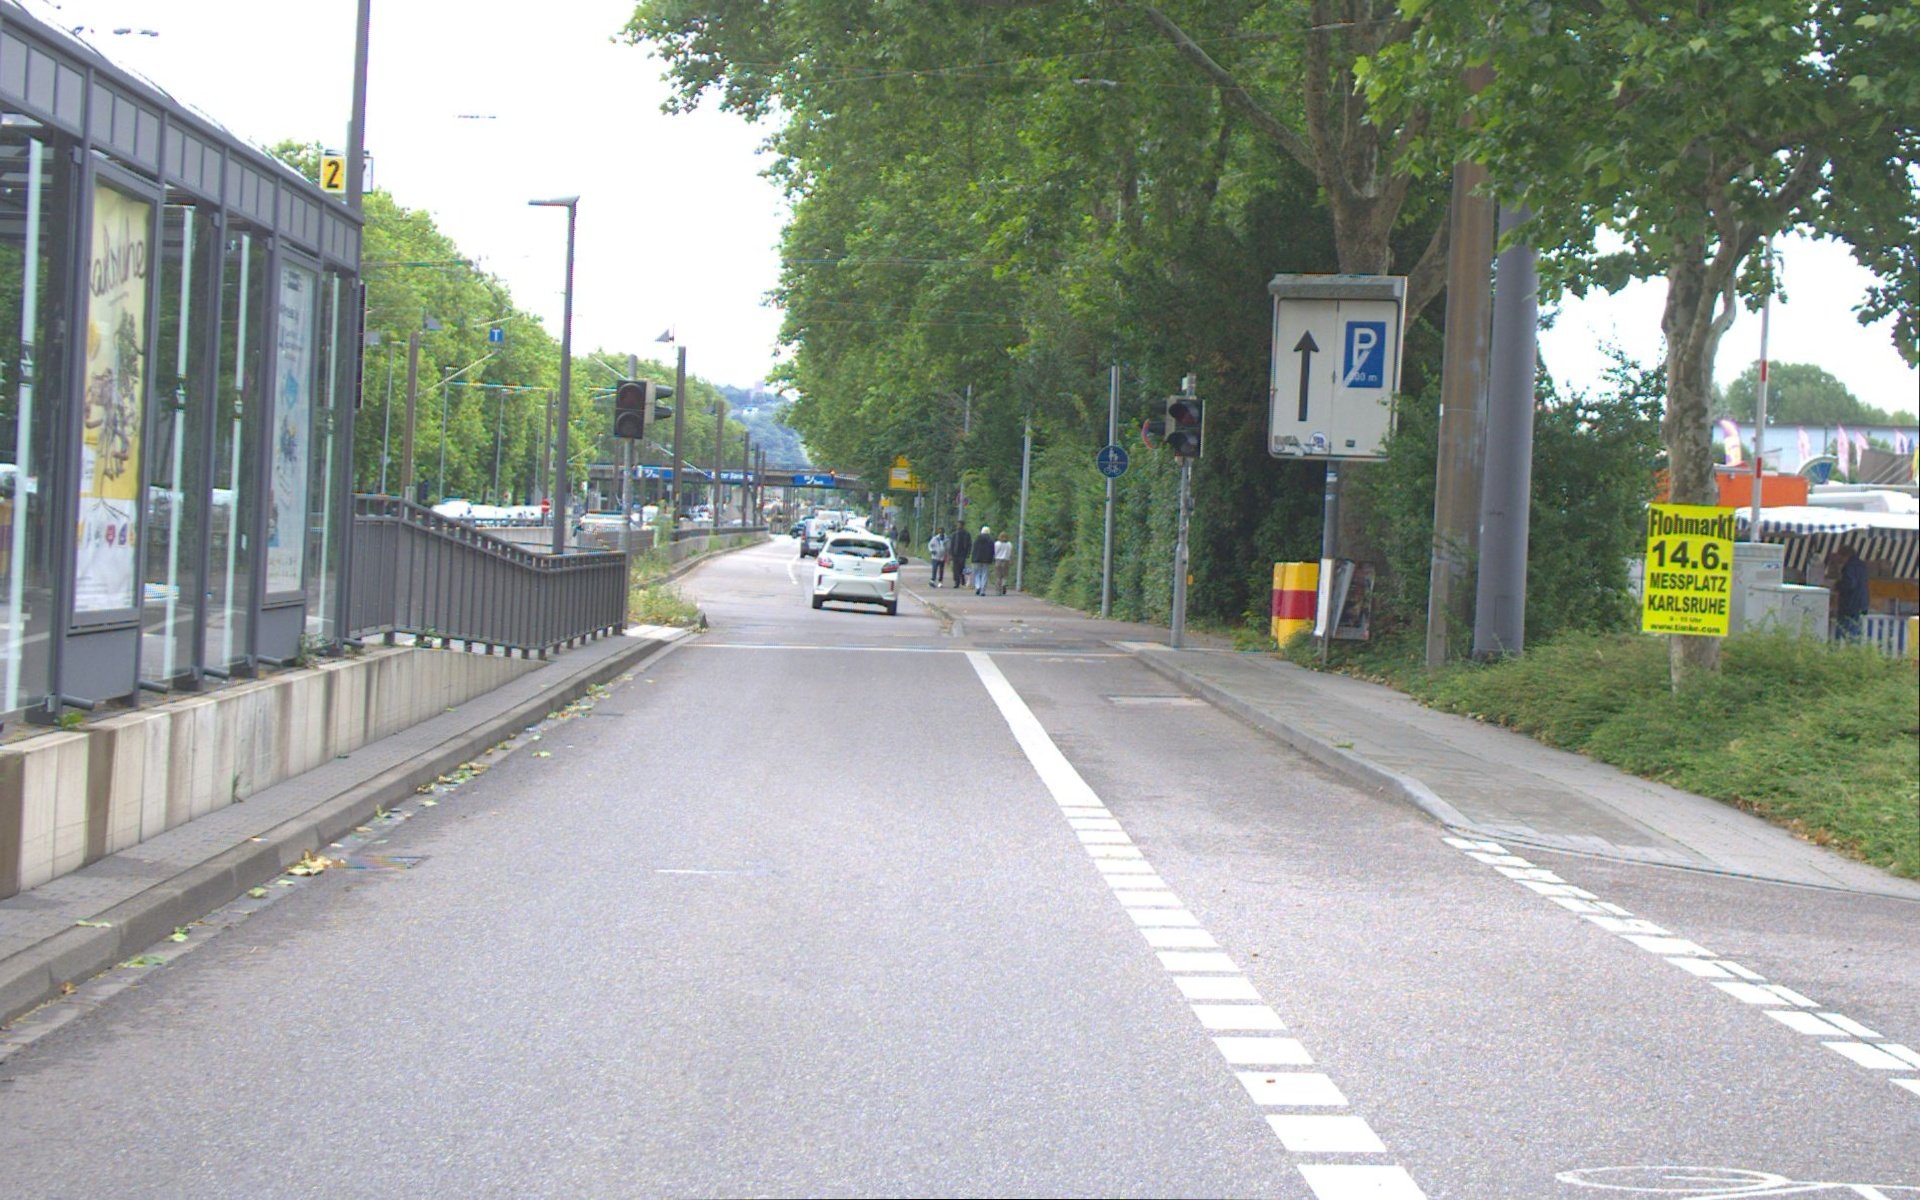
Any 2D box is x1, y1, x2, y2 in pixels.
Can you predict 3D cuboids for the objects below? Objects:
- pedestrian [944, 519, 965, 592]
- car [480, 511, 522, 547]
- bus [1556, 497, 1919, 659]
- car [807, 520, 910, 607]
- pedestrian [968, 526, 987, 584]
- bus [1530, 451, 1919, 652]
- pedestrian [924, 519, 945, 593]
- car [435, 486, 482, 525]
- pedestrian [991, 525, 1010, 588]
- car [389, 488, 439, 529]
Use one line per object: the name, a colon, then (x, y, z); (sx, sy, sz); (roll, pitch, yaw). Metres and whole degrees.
pedestrian: (-0.154, -1.236, 95.230); (0.396, 2.007, 0.402); (3, 1, 14)
car: (-24.604, -3.809, 184.404); (1.993, 1.787, 4.001); (3, 1, -5)
bus: (14.052, -0.255, 53.022); (9.276, 2.220, 2.000); (3, 1, -4)
car: (-1.910, -0.726, 65.843); (1.841, 1.546, 4.000); (2, 1, 0)
pedestrian: (0.453, -1.135, 87.101); (0.396, 1.439, 0.563); (3, 1, 3)
bus: (14.182, -0.715, 56.136); (9.276, 2.949, 2.000); (3, 1, -4)
pedestrian: (-0.713, -1.219, 95.340); (0.396, 2.007, 0.402); (3, 1, 14)
car: (-24.292, -4.564, 166.587); (1.993, 1.787, 4.001); (3, 1, -5)
pedestrian: (1.026, -1.093, 87.099); (0.396, 1.580, 0.538); (3, 1, 3)
car: (-25.447, -4.246, 160.376); (1.993, 1.787, 4.001); (3, 1, -5)
